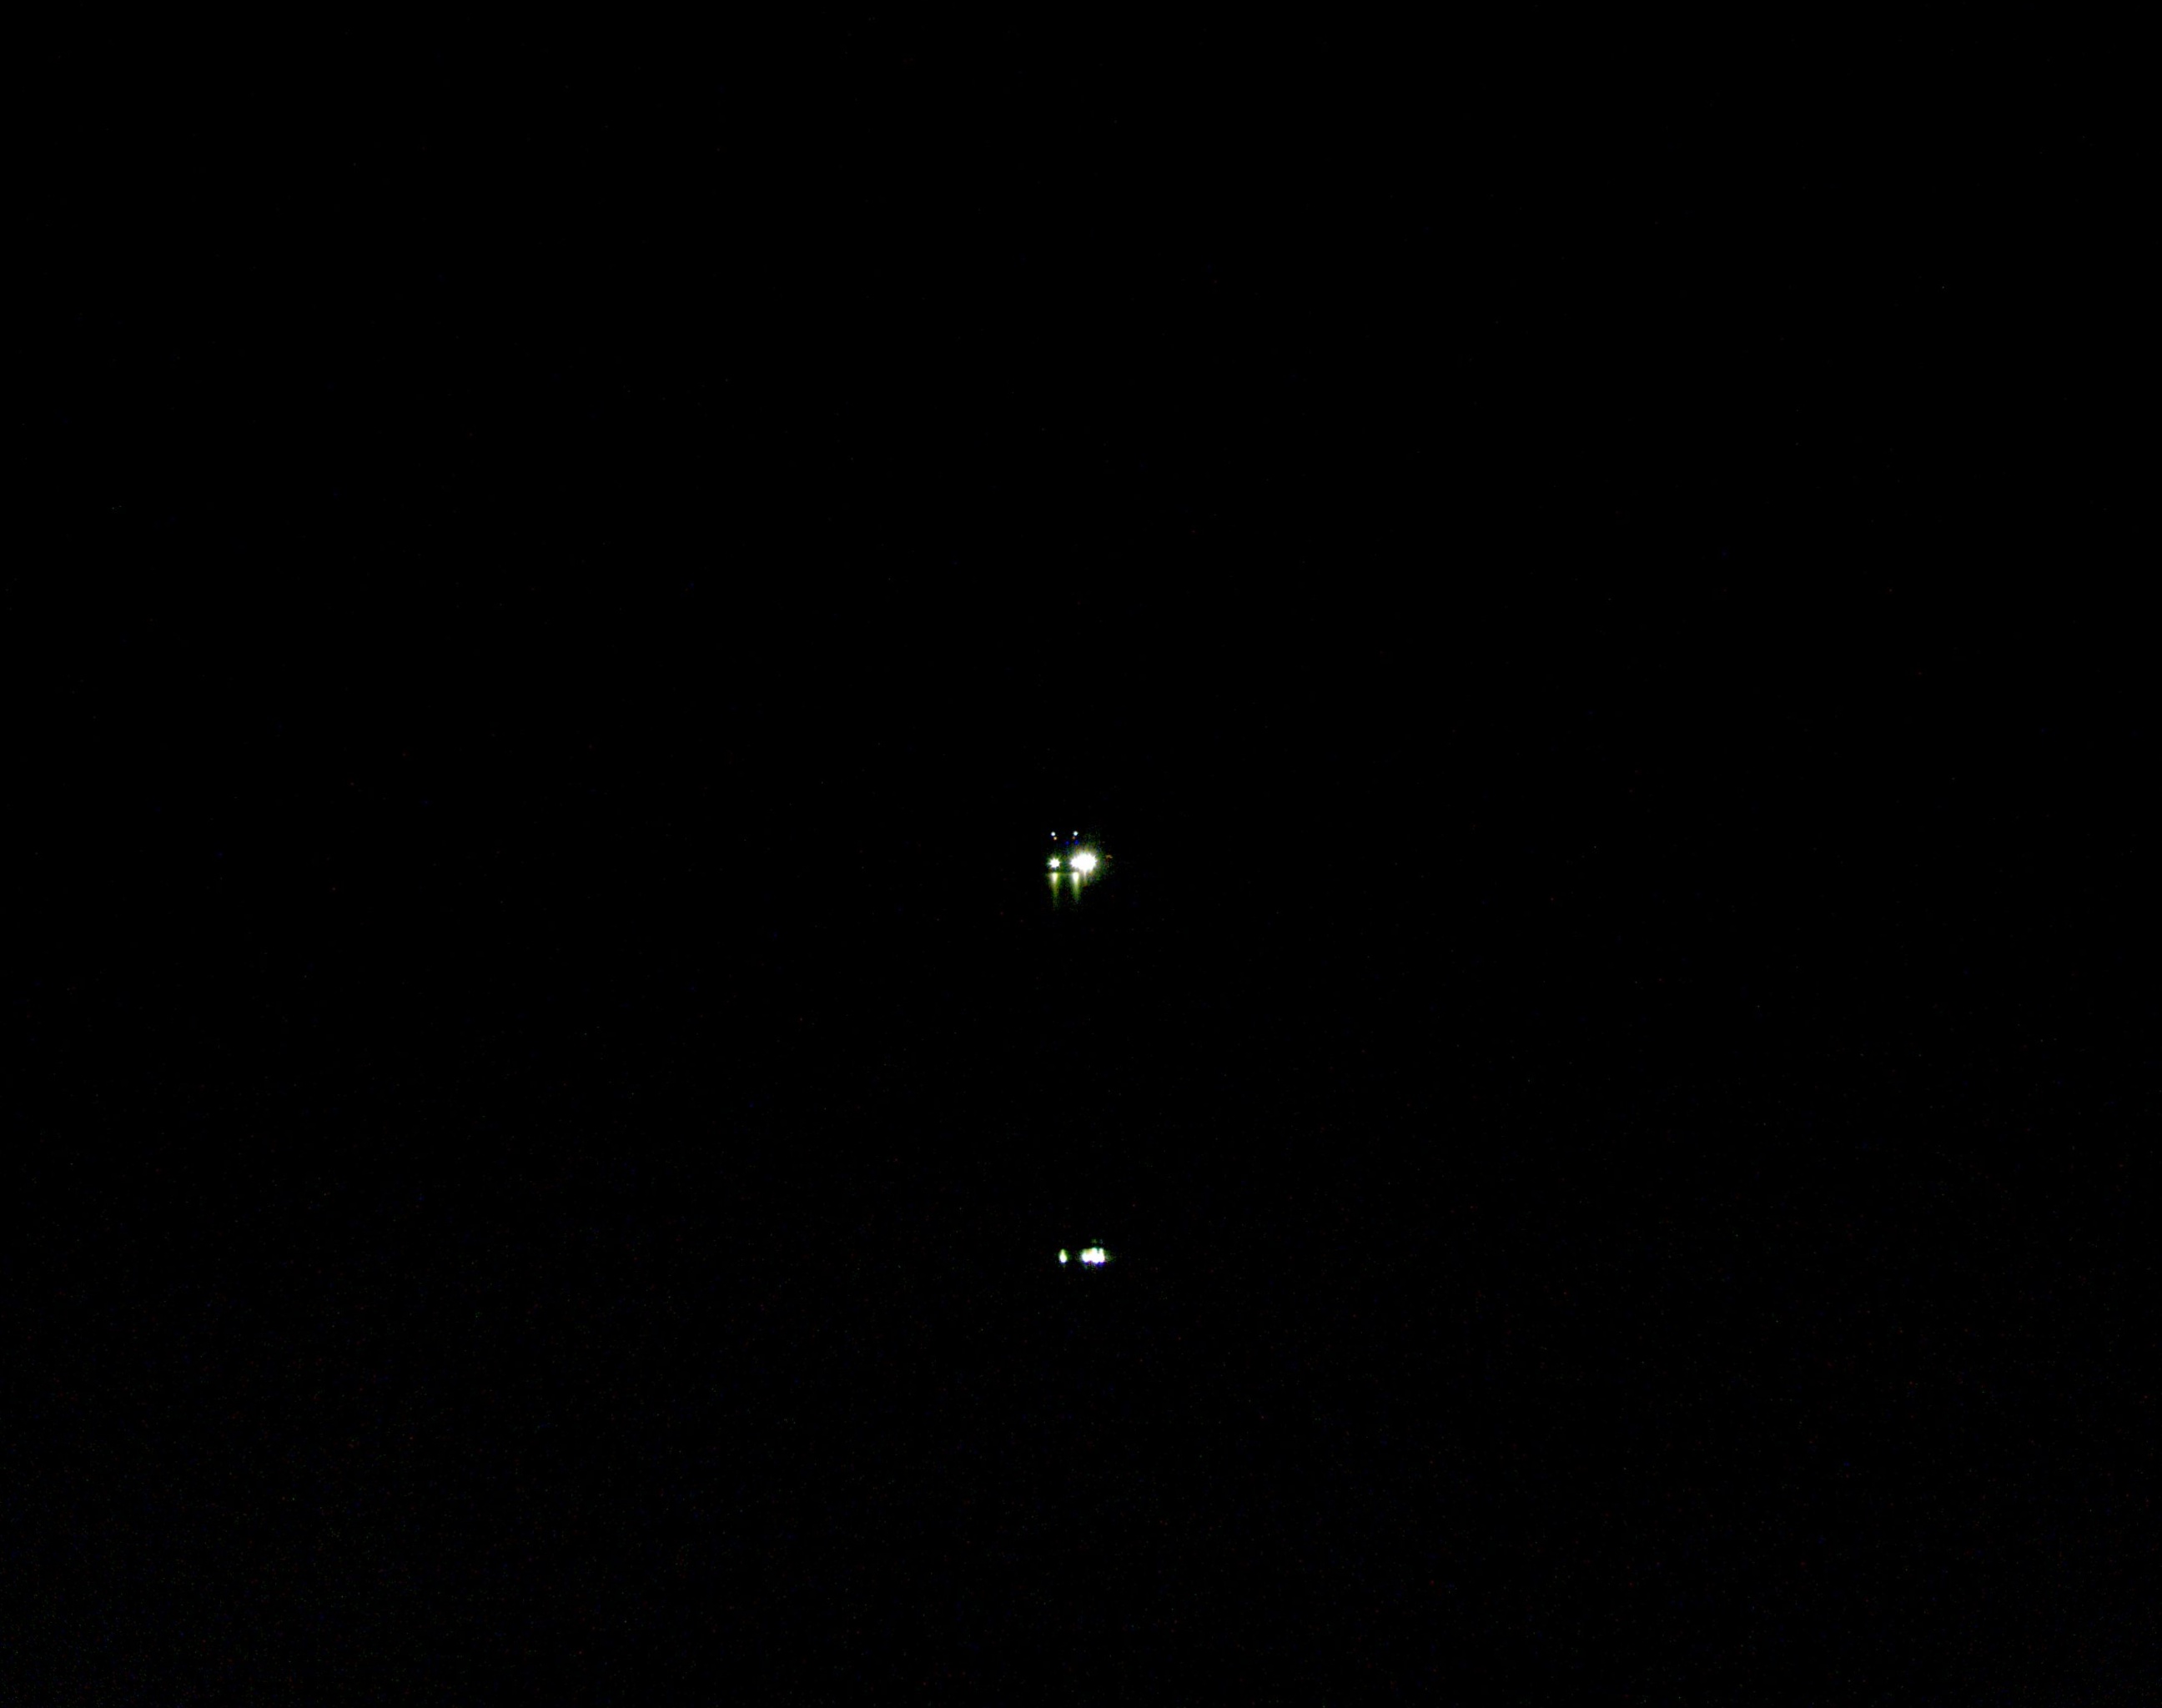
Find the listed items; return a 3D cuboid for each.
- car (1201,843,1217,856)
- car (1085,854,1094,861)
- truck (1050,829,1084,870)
[{"bbox_3d":[21.891,-0.764,130.286,1.998,2.231,4.000,-2,0,1],"label":"car"},{"bbox_3d":[2.169,0.895,186.114,1.845,1.475,4.293,-2,1,4],"label":"car"},{"bbox_3d":[-1.355,-0.541,80.801,3.003,3.877,12.887,-2,1,1],"label":"truck"}]
